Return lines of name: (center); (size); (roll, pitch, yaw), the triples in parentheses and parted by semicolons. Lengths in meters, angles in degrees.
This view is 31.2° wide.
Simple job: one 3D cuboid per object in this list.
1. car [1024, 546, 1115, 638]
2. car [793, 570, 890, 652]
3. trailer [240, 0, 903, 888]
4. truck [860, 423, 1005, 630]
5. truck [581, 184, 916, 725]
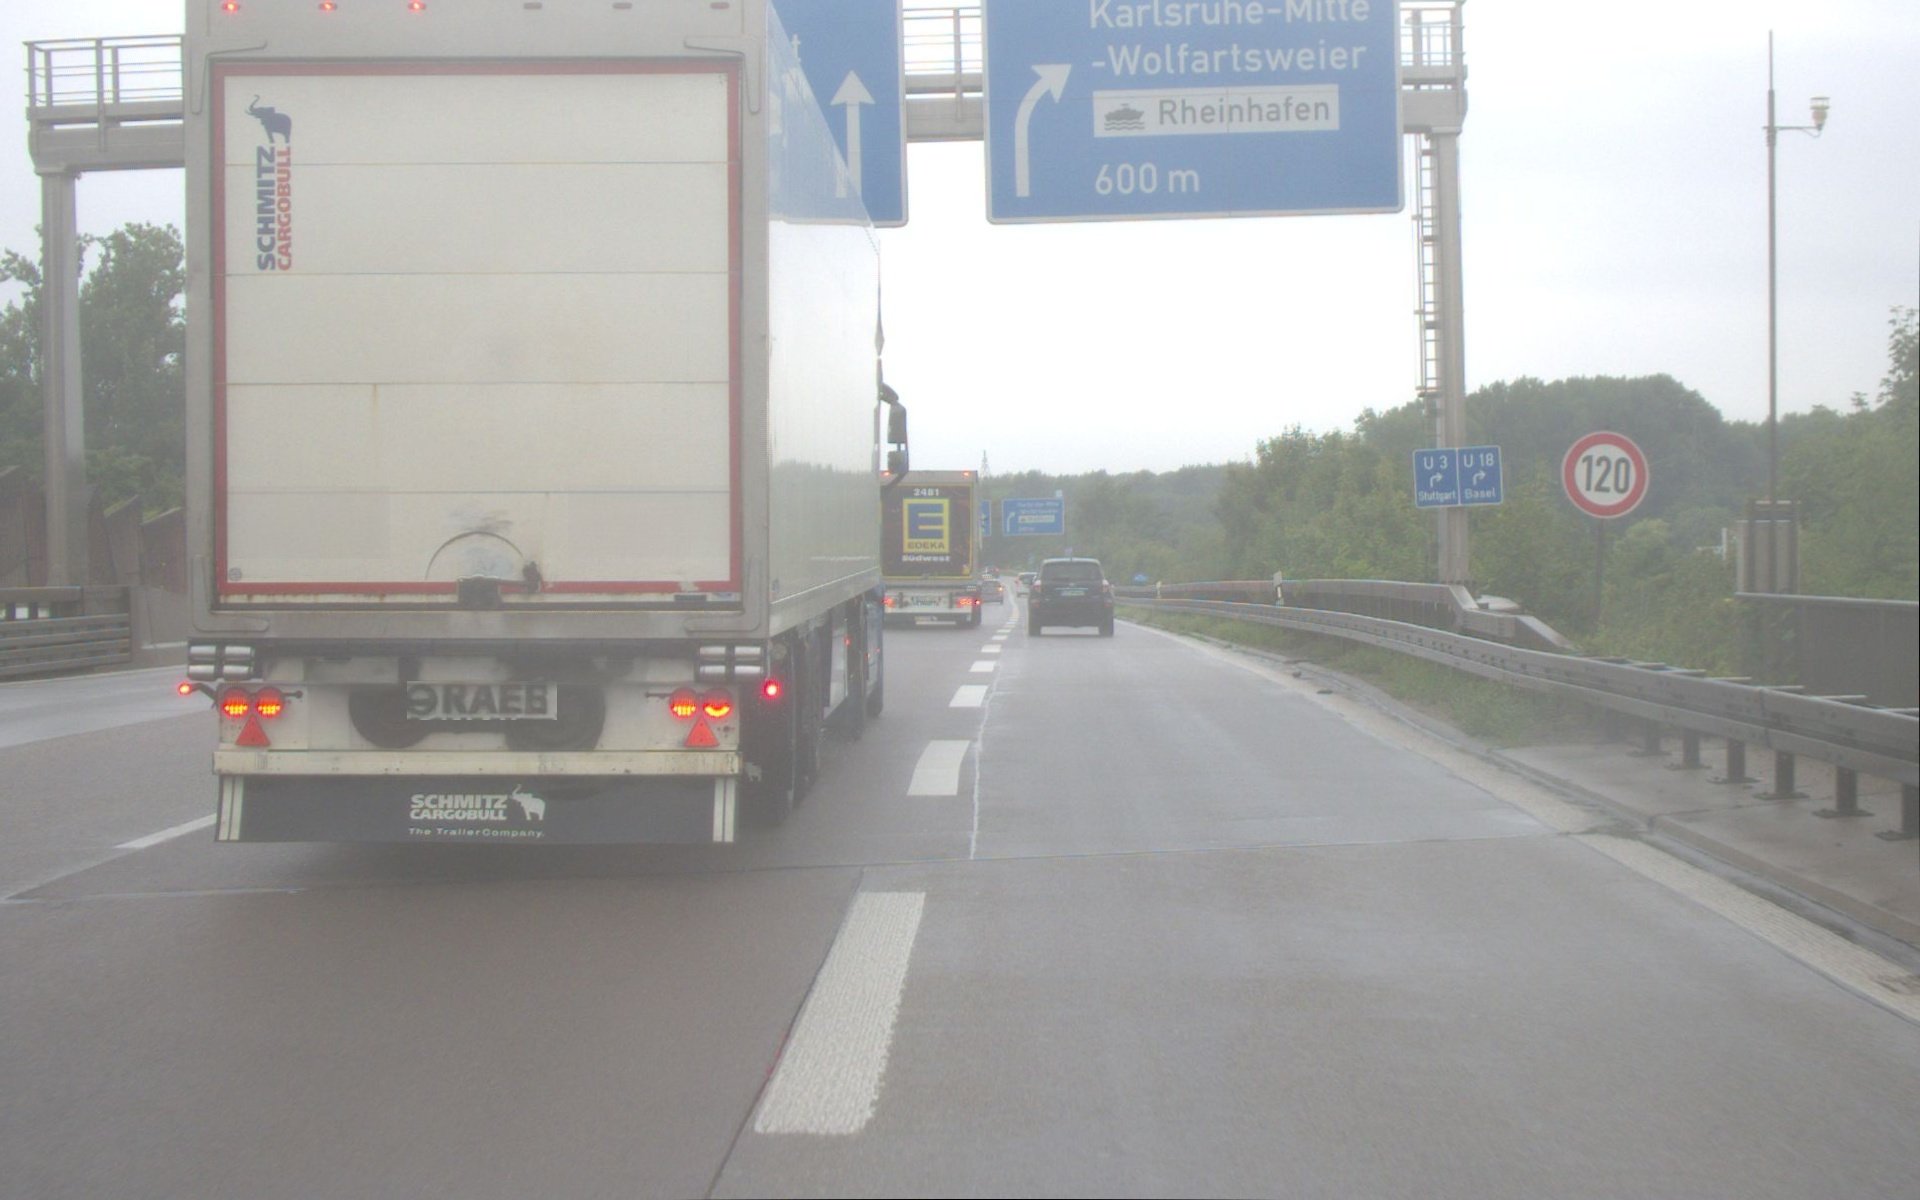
car: (2.405, -0.188, 74.995); (1.897, 1.943, 4.000); (1, 0, 2)
car: (-2.571, 0.216, 75.270); (1.894, 1.718, 4.000); (1, 1, 1)
trailer: (-1.817, -1.016, 22.371); (2.342, 4.143, 14.827); (1, 1, 1)
truck: (-0.634, -1.897, 91.767); (3.534, 5.165, 9.892); (1, 0, 1)
truck: (-1.678, -1.203, 29.728); (2.342, 4.143, 6.347); (1, 1, 1)
